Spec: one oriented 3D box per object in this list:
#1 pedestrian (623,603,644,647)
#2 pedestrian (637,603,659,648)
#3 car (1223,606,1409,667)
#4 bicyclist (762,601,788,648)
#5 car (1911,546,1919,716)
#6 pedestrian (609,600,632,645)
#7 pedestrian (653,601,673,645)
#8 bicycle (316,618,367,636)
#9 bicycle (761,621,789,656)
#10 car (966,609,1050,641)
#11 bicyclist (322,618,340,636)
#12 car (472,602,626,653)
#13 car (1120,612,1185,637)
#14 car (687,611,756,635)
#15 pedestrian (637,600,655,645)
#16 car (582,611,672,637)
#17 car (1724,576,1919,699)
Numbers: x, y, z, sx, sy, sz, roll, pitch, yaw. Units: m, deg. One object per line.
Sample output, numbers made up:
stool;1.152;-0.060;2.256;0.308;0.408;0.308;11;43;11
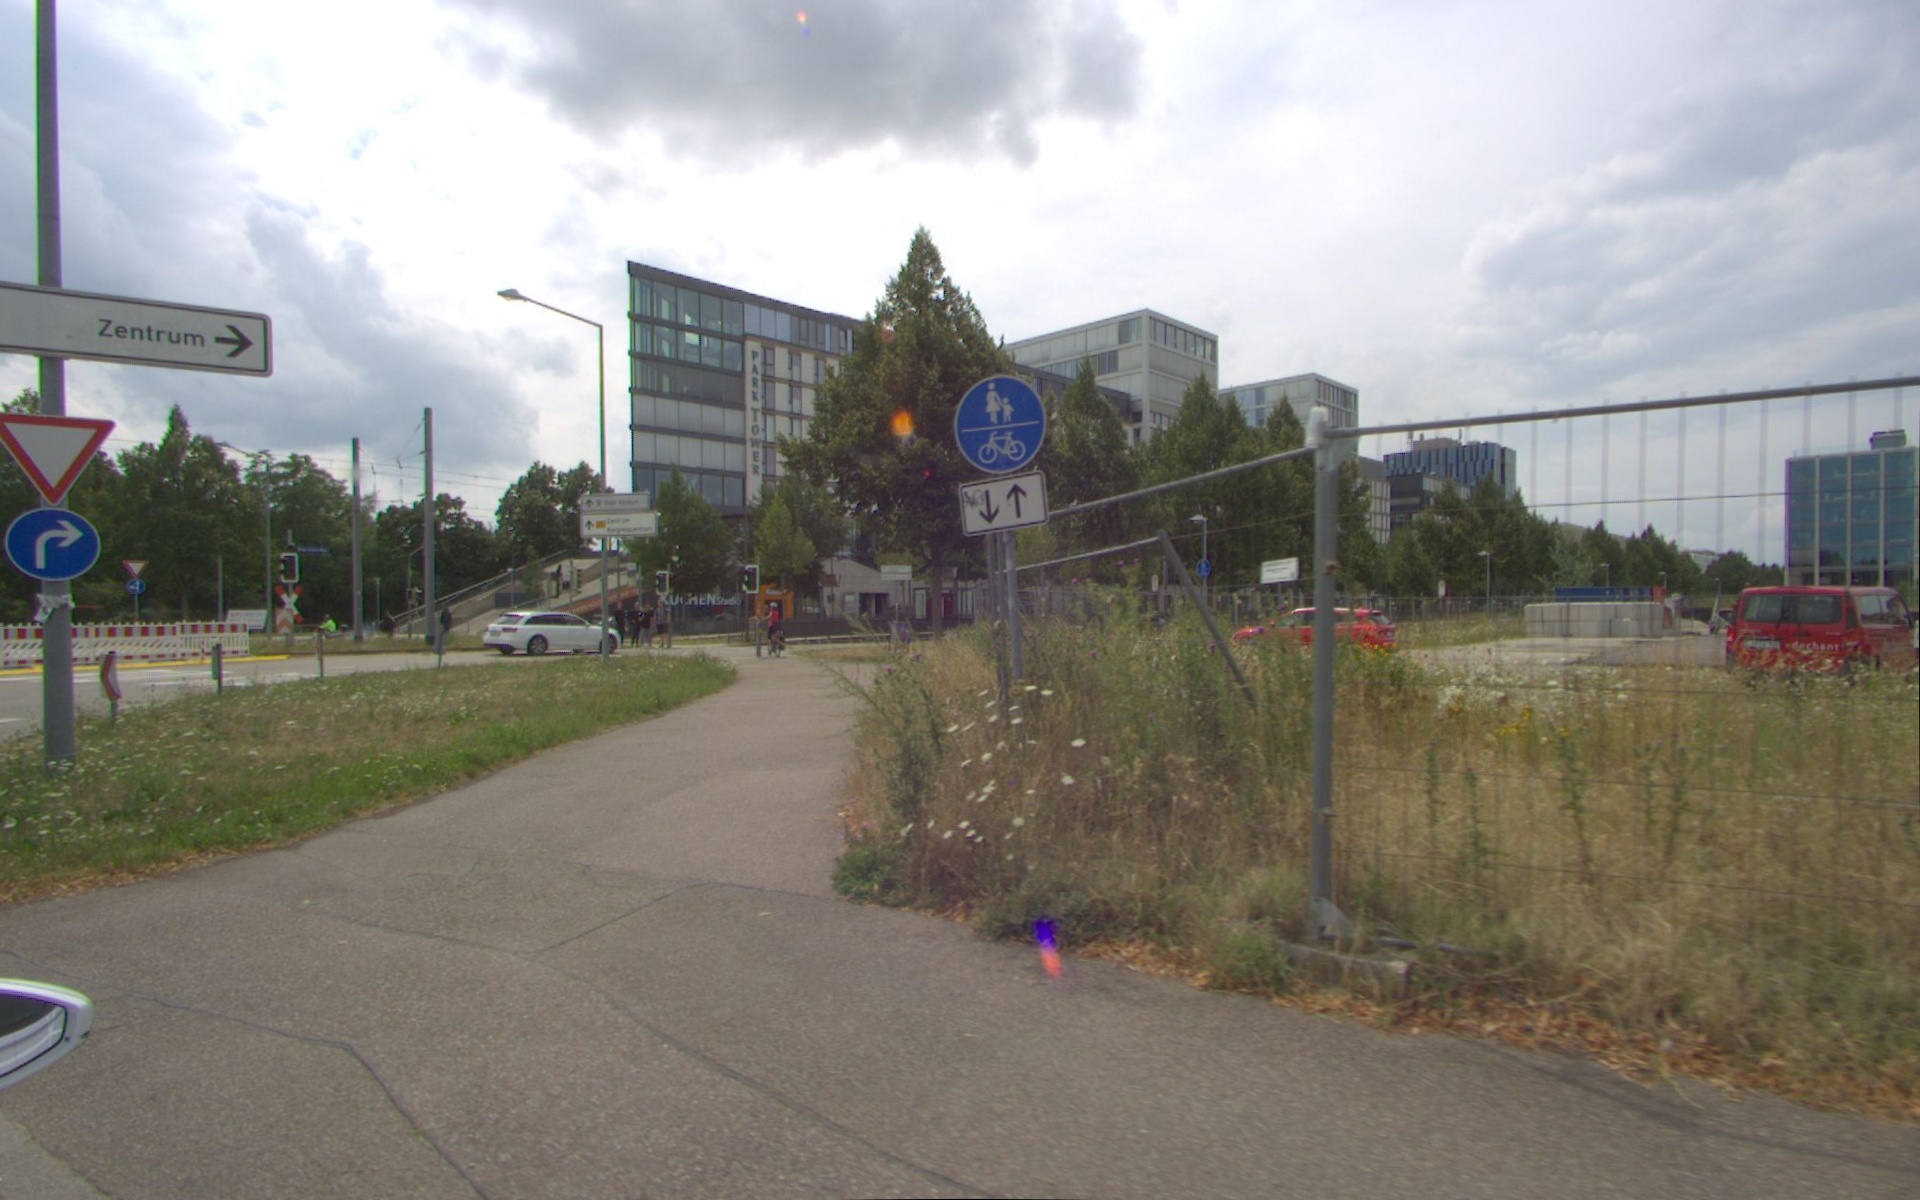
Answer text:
pedestrian;-13.444;1.014;41.251;0.546;1.805;0.629;1;0;39
pedestrian;-12.766;1.030;41.003;0.546;1.805;0.685;1;0;39
car;9.674;0.950;27.405;4.473;1.553;1.776;-1;-1;39
bicyclist;-6.529;0.848;35.289;0.777;1.649;1.047;-1;0;-17
car;17.088;0.447;15.326;6.455;2.444;2.304;0;0;-34
pedestrian;-13.785;0.920;40.663;0.546;1.805;0.685;1;0;39
pedestrian;-12.303;0.948;41.495;0.546;1.805;0.576;1;0;39
bicycle;-31.984;1.397;51.781;2.166;0.950;0.613;0;-1;-19
bicycle;-6.565;1.334;35.445;0.777;1.183;2.038;0;0;-17
car;2.665;1.323;54.323;1.979;1.639;4.710;-1;-1;43
bicyclist;-32.417;1.379;51.634;0.647;0.895;0.606;0;-1;-19
car;-14.271;0.930;35.046;1.971;1.639;4.728;0;-1;31
car;11.351;1.429;58.872;1.979;1.392;3.964;0;0;44
car;-15.232;1.456;64.077;3.961;1.477;1.831;1;0;-44
pedestrian;-13.119;0.941;41.845;0.546;1.886;0.527;1;0;39
car;-19.522;1.392;58.826;4.693;1.477;1.830;1;0;-45
car;15.910;0.596;18.052;4.924;1.936;1.923;0;2;-35
